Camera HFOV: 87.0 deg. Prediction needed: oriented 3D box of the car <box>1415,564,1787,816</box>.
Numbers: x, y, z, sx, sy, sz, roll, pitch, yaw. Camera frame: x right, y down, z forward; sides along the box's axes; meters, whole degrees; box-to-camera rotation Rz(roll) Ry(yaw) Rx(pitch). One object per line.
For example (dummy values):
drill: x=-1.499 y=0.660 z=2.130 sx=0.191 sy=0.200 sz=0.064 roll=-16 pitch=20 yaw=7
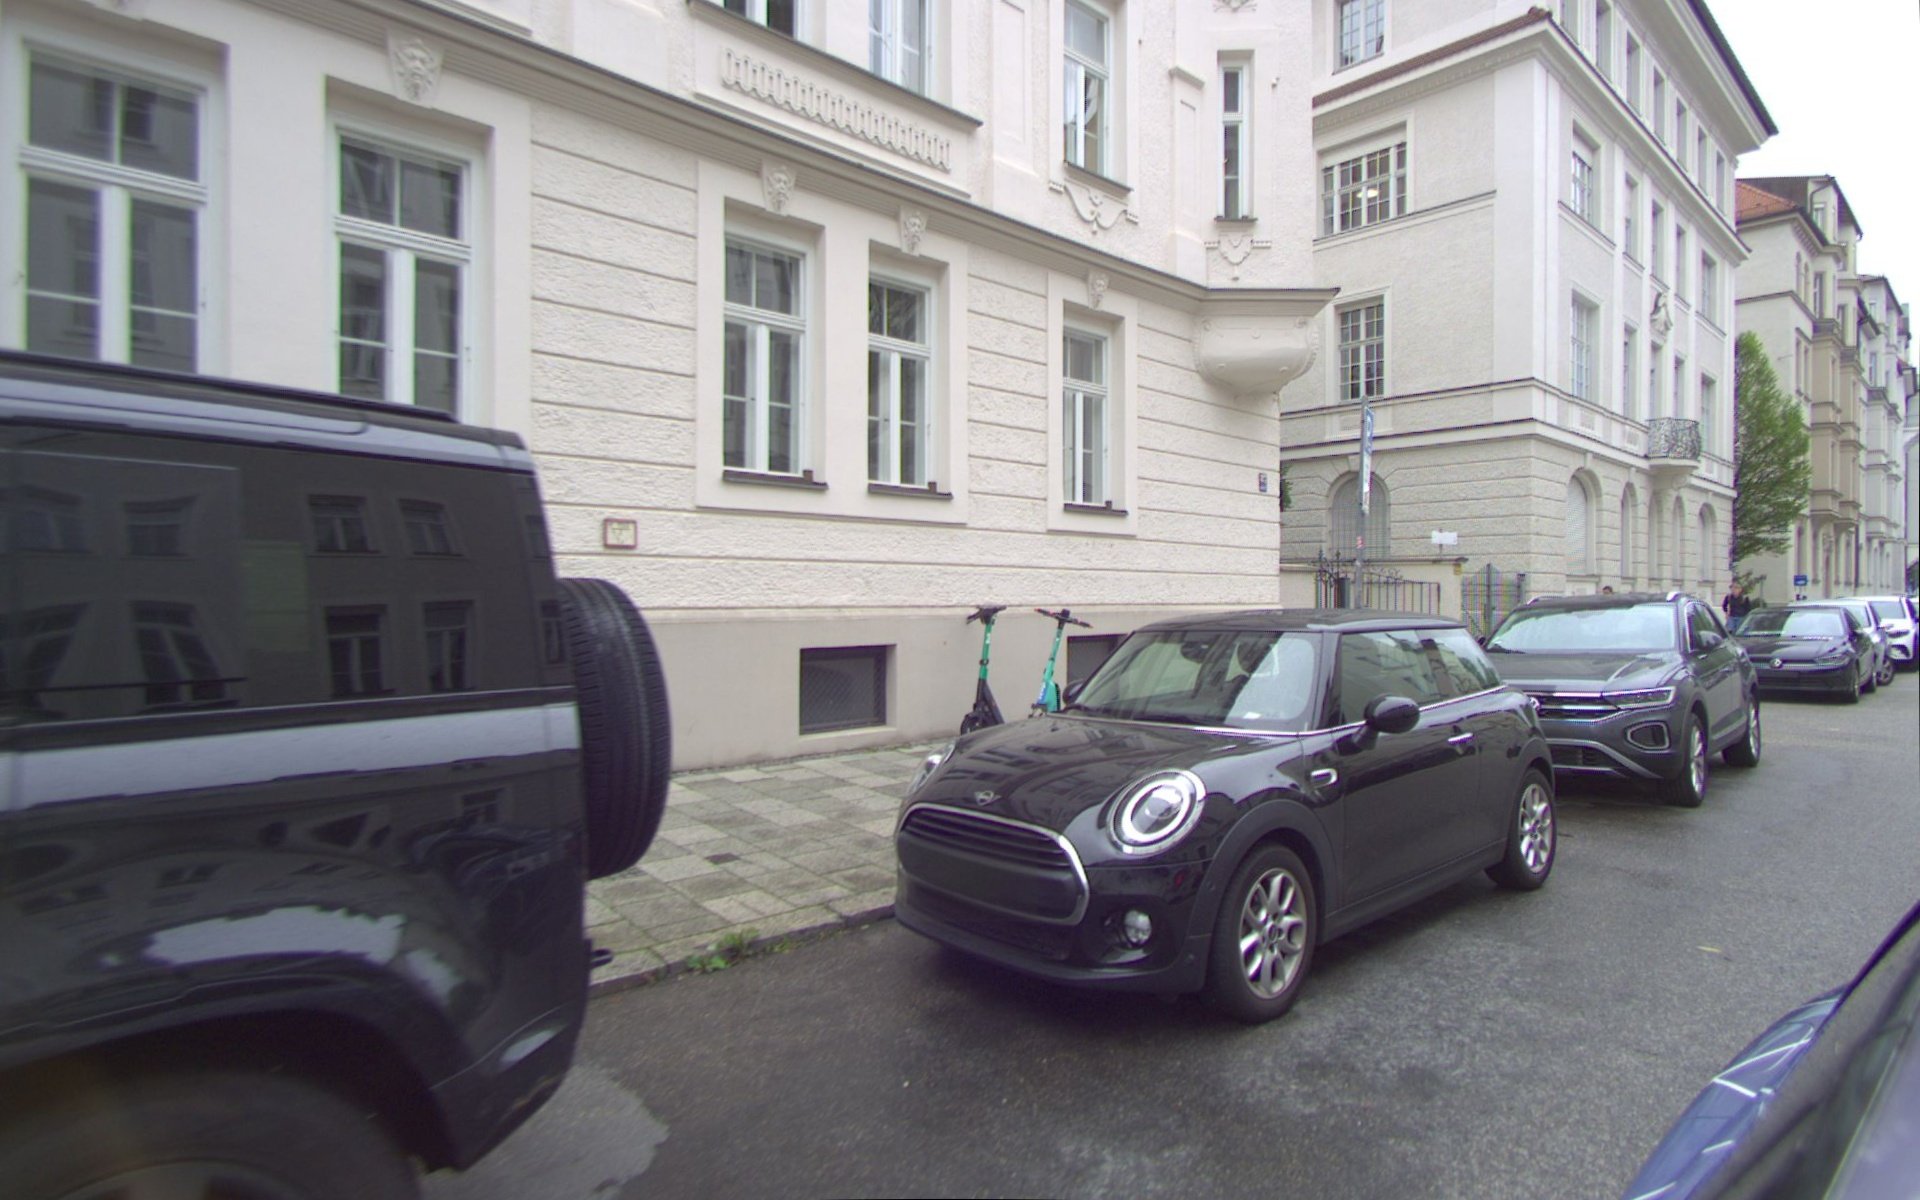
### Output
car: x=5.493 y=0.591 z=8.461 sx=3.934 sy=1.608 sz=1.708 roll=0 pitch=-2 yaw=-44

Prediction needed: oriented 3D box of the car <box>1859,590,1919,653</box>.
car: x=25.135 y=0.519 z=26.643 sx=4.099 sy=1.544 sz=1.751 roll=0 pitch=-1 yaw=-42

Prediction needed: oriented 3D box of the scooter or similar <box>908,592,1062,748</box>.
scooter or similar: x=0.234 y=0.587 z=9.116 sx=1.325 sy=1.303 sz=0.508 roll=0 pitch=2 yaw=-34

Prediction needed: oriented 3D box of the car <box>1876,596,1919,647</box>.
car: x=29.092 y=0.625 z=30.558 sx=4.152 sy=1.470 sz=1.713 roll=0 pitch=-1 yaw=-43

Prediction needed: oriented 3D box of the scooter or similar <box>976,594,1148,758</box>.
scooter or similar: x=0.905 y=0.613 z=8.841 sx=1.474 sy=1.303 sz=0.542 roll=0 pitch=2 yaw=-34

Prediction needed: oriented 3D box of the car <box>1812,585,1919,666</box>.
car: x=20.769 y=0.528 z=22.703 sx=4.314 sy=1.657 sz=1.898 roll=1 pitch=-1 yaw=-41

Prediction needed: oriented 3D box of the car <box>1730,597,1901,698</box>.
car: x=13.787 y=0.684 z=16.234 sx=3.933 sy=1.413 sz=1.613 roll=0 pitch=-1 yaw=-43

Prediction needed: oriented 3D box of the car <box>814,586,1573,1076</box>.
car: x=1.274 y=0.686 z=4.748 sx=3.518 sy=1.413 sz=1.666 roll=-1 pitch=-2 yaw=-40

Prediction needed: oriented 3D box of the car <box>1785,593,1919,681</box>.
car: x=17.449 y=0.647 z=19.735 sx=1.708 sy=1.520 sz=3.935 roll=-2 pitch=-1 yaw=45

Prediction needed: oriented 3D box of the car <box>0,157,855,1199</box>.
car: x=-2.579 y=0.458 z=1.201 sx=4.633 sy=1.909 sz=1.913 roll=-1 pitch=-2 yaw=-42

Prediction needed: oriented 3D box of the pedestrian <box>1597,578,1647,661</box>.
pedestrian: x=13.857 y=0.392 z=21.182 sx=0.798 sy=1.700 sz=0.683 roll=1 pitch=1 yaw=-43
